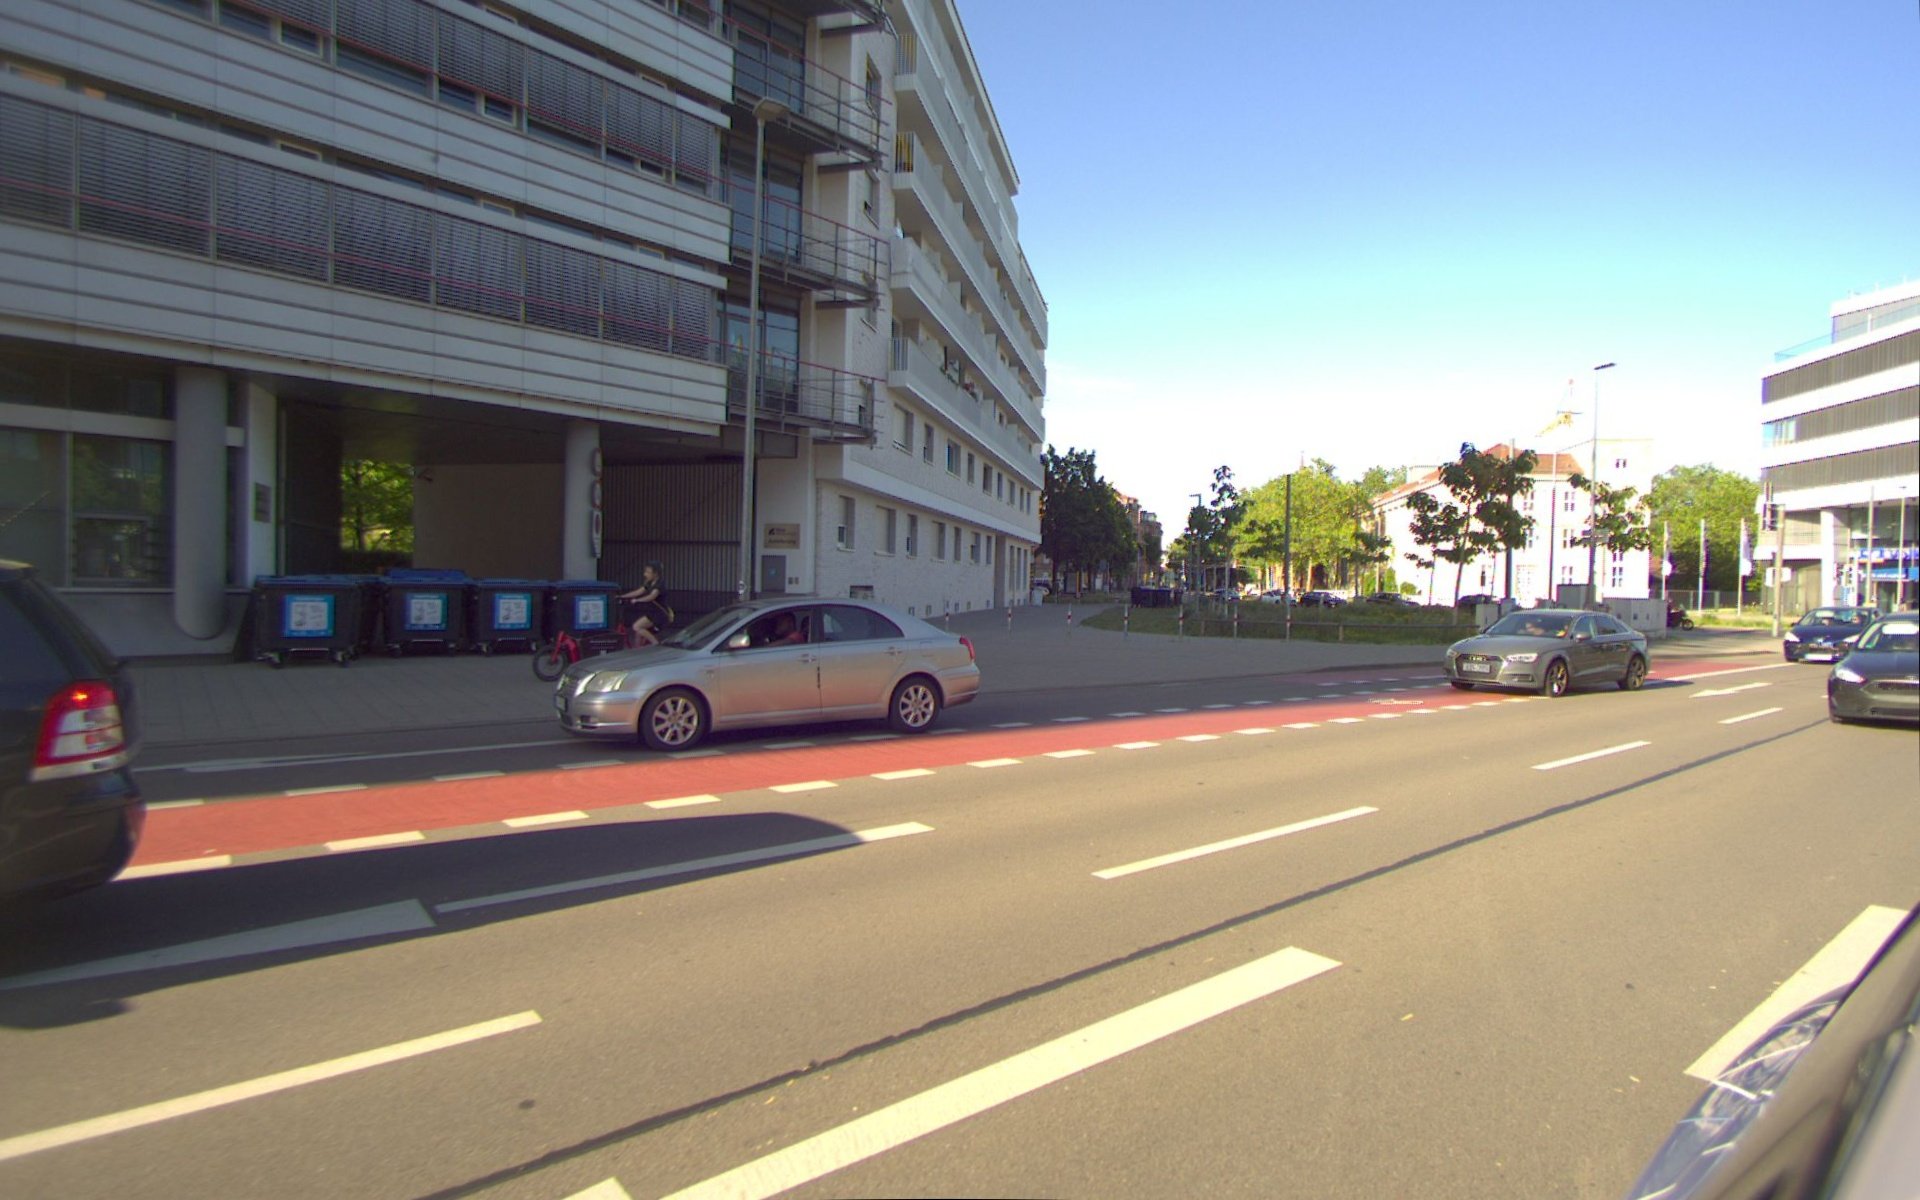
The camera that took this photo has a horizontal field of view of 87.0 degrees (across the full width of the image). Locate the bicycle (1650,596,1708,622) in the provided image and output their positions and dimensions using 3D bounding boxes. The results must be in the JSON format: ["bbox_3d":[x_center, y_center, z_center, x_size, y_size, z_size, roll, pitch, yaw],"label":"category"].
[{"bbox_3d":[39.085,0.470,55.022,0.932,1.328,2.375,0,1,-28],"label":"bicycle"}]

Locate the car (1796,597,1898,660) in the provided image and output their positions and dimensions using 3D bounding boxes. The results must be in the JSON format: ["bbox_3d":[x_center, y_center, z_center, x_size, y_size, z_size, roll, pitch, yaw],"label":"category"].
[{"bbox_3d":[23.286,0.681,26.529,3.935,1.464,1.733,0,2,-45],"label":"car"}]

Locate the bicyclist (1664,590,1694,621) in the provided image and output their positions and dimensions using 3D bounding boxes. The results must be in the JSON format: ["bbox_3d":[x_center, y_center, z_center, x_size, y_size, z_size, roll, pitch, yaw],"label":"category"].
[{"bbox_3d":[39.093,0.309,55.042,0.862,1.627,1.009,0,1,-28],"label":"bicyclist"}]

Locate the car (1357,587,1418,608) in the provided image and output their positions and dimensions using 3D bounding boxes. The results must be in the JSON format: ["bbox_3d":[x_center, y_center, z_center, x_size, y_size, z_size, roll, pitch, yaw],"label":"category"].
[{"bbox_3d":[31.959,-0.224,75.809,1.958,1.440,4.009,0,1,-22],"label":"car"}]

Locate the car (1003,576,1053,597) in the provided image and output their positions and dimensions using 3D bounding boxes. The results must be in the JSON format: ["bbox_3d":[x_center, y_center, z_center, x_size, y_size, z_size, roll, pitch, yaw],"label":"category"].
[{"bbox_3d":[5.914,-1.201,88.252,3.919,1.738,2.003,0,1,-29],"label":"car"}]

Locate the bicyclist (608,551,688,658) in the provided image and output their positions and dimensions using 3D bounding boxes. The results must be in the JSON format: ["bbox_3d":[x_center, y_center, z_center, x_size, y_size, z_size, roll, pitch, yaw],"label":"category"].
[{"bbox_3d":[-4.799,0.062,15.554,1.024,1.586,0.626,0,1,-35],"label":"bicyclist"}]

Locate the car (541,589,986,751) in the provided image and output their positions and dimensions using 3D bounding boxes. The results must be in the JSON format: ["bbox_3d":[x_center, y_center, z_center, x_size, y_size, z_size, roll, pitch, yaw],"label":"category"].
[{"bbox_3d":[-2.025,0.632,10.947,4.401,1.449,1.757,0,-1,-33],"label":"car"}]

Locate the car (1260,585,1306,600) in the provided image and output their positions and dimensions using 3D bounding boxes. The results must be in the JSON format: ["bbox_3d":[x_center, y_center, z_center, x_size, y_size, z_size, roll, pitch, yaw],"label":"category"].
[{"bbox_3d":[28.353,-0.661,88.930,1.958,1.259,4.009,1,1,-16],"label":"car"}]

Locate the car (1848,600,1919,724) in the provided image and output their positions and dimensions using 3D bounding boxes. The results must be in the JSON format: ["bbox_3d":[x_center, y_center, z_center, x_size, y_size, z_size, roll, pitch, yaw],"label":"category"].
[{"bbox_3d":[13.016,0.736,13.164,4.081,1.451,1.688,0,1,-41],"label":"car"}]

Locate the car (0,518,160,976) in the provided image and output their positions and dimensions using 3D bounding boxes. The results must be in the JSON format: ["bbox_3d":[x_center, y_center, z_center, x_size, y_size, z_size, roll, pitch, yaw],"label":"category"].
[{"bbox_3d":[-5.296,0.512,3.087,4.387,1.649,1.690,0,1,-43],"label":"car"}]

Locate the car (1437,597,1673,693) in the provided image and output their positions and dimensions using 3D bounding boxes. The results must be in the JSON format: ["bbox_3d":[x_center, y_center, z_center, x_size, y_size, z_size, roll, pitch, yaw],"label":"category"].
[{"bbox_3d":[10.333,0.708,17.525,4.028,1.459,1.718,0,1,-29],"label":"car"}]

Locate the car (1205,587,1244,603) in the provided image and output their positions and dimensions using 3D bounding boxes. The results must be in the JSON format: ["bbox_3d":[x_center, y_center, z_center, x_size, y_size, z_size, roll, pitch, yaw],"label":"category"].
[{"bbox_3d":[25.737,-0.516,98.526,1.894,1.393,4.009,1,1,-15],"label":"car"}]

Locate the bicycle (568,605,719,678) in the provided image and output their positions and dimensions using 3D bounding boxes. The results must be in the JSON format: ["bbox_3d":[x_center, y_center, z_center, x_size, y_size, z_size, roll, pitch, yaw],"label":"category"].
[{"bbox_3d":[-4.855,0.608,15.607,2.164,1.045,0.500,0,1,-35],"label":"bicycle"}]

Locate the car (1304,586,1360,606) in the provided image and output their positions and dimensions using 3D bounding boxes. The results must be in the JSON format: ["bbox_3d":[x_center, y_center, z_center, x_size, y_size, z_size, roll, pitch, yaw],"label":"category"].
[{"bbox_3d":[30.013,-0.352,81.758,1.958,1.440,4.536,1,1,-15],"label":"car"}]
